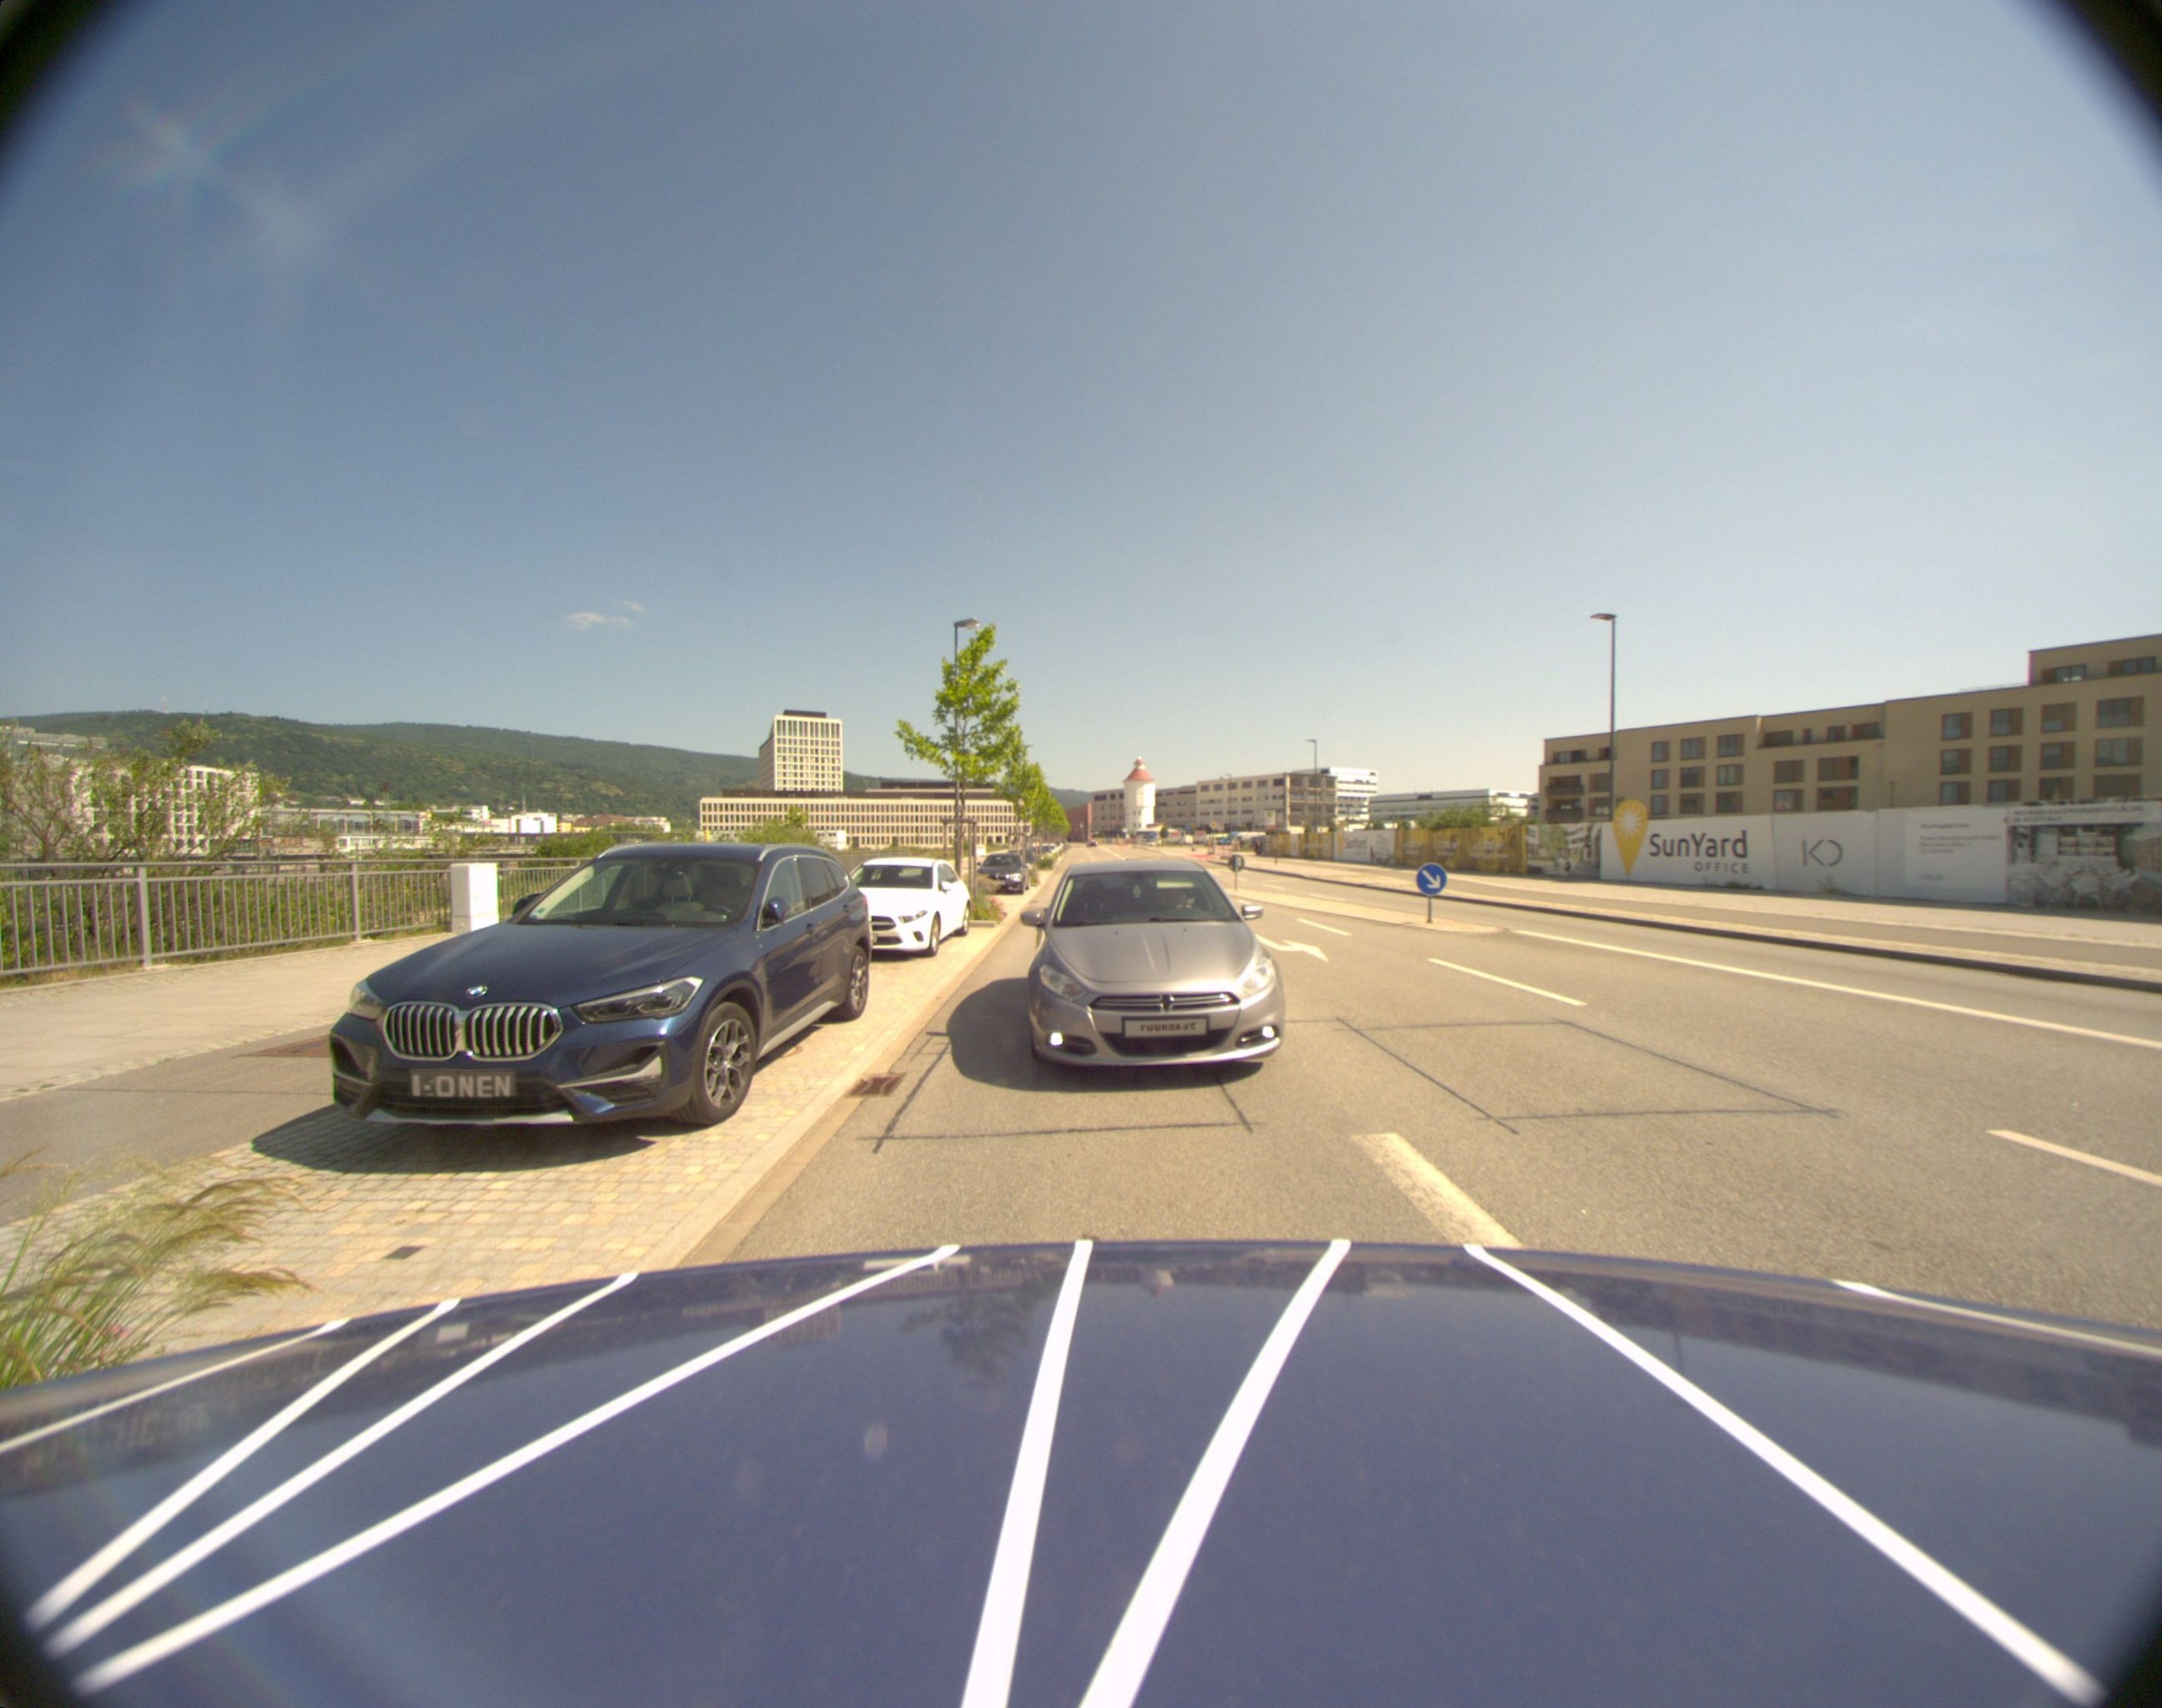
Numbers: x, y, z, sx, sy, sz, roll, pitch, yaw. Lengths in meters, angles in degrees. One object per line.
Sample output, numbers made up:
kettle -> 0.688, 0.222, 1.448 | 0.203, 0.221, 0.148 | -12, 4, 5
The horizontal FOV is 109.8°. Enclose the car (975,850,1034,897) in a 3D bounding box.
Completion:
car -> -2.755, 0.645, 28.036 | 1.664, 1.529, 3.999 | -2, 1, 1

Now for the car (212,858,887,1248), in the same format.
car -> -2.878, 0.894, 5.468 | 1.769, 1.598, 4.238 | -2, 1, 1

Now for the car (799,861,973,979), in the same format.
car -> -2.921, 0.913, 12.257 | 1.664, 1.447, 3.999 | -2, 1, 1

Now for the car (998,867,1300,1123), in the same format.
car -> 0.441, 0.895, 6.670 | 1.784, 1.372, 4.135 | -2, 1, 1

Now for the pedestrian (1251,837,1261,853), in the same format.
pedestrian -> 17.840, -0.924, 77.438 | 0.705, 1.577, 0.617 | -3, 1, -36
